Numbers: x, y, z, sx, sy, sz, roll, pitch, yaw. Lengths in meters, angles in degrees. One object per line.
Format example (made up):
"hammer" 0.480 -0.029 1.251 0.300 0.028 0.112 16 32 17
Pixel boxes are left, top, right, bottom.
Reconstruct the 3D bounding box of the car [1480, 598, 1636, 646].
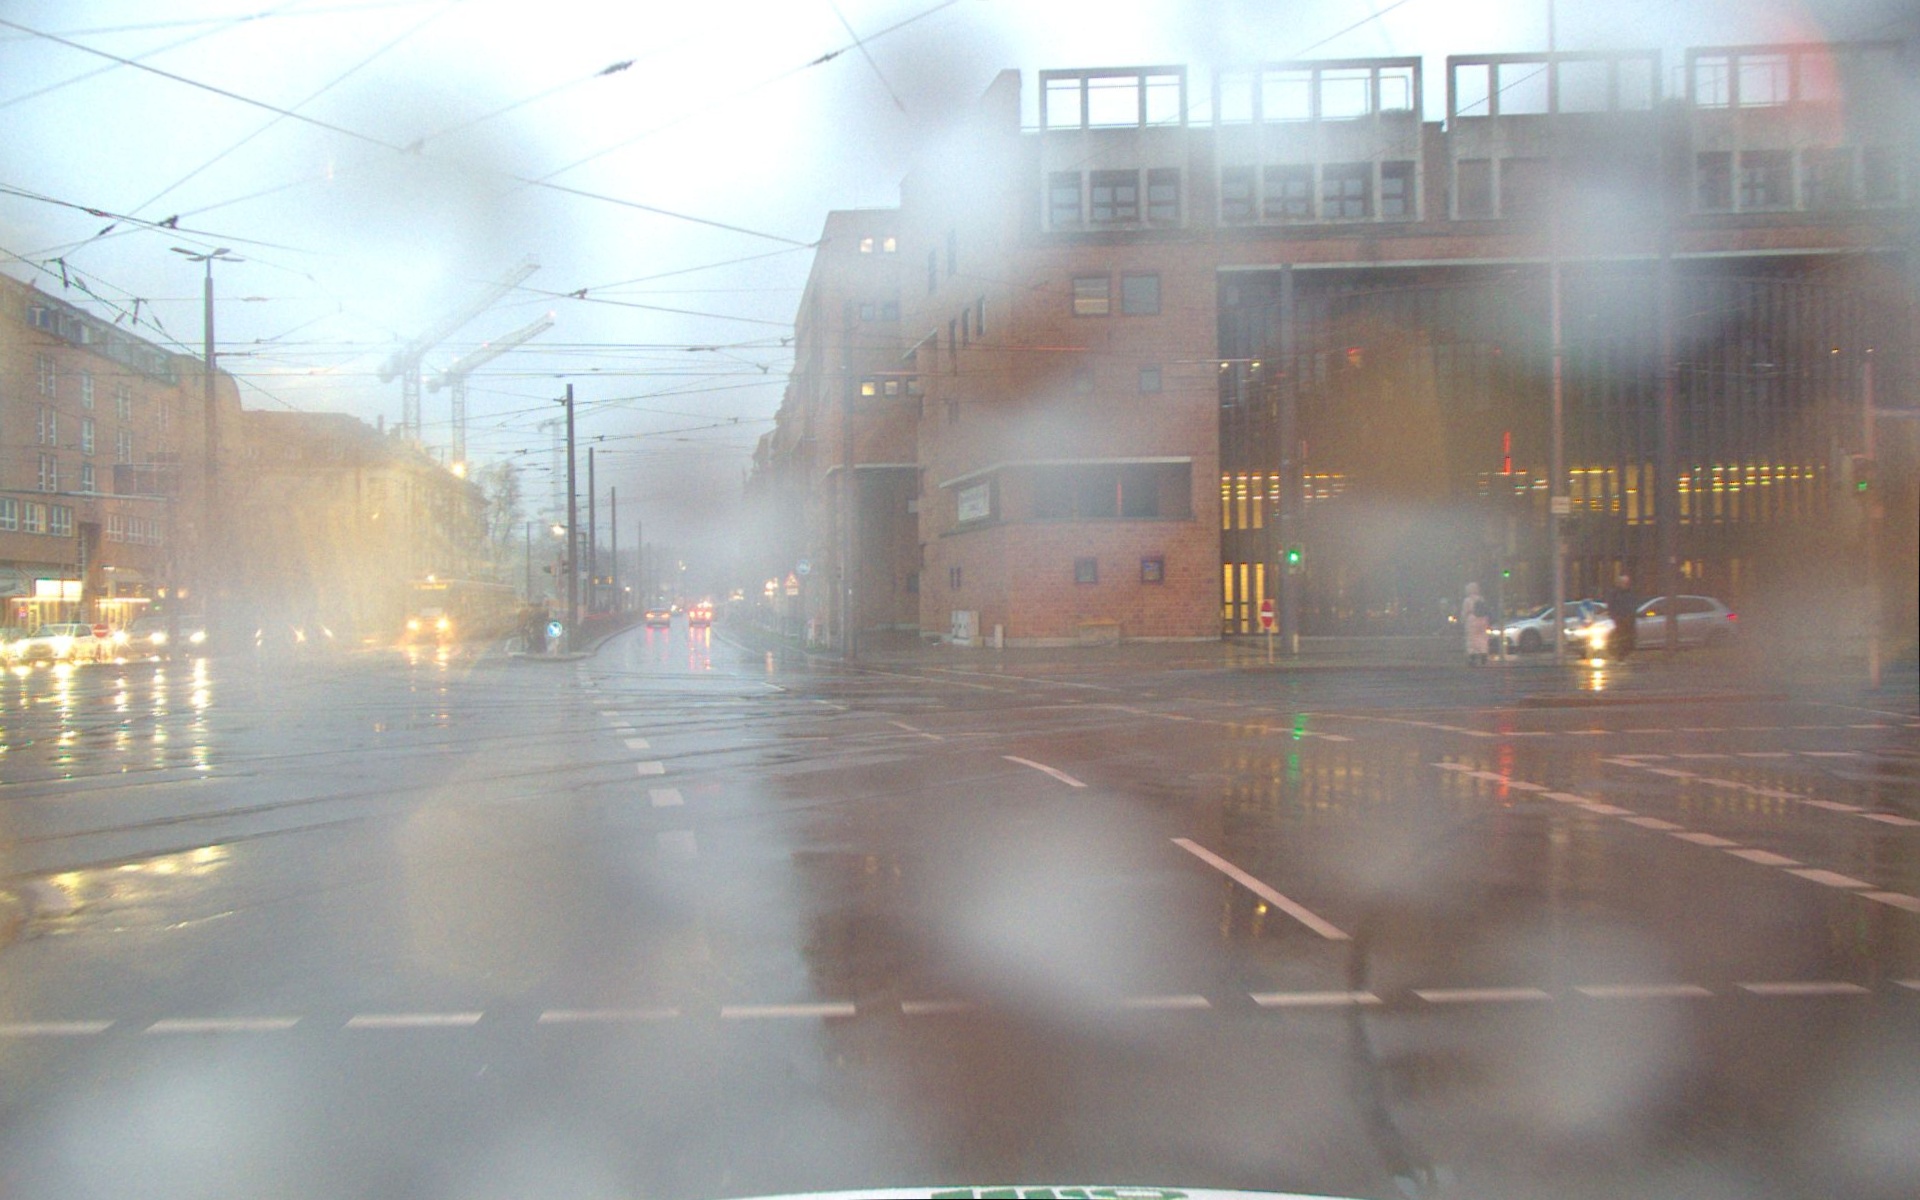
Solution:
"car" 17.435 0.634 48.287 3.906 1.333 1.811 -1 0 -8

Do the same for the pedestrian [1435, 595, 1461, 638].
"pedestrian" 16.089 0.548 54.528 0.721 1.413 0.738 -1 0 12

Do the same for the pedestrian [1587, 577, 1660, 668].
"pedestrian" 13.620 0.459 33.974 1.127 1.818 0.776 -1 0 -9

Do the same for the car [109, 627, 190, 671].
"car" -34.442 2.063 70.405 1.795 1.739 4.694 -1 0 -10

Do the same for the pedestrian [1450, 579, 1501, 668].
"pedestrian" 10.783 0.480 34.587 0.721 1.818 0.732 -1 0 -13

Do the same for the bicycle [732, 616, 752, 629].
"bicycle" -19.168 1.952 145.371 1.699 1.073 0.370 -2 0 -11

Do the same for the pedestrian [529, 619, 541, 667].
"pedestrian" -15.718 1.593 61.119 0.426 1.766 0.471 0 -1 -14

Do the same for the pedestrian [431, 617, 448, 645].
"pedestrian" -22.144 1.305 70.367 0.569 1.173 0.489 1 -1 -8

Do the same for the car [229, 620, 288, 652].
"car" -31.068 1.578 73.363 1.651 1.378 3.537 0 -1 -10

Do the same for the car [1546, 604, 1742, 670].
"car" 16.321 0.863 39.563 3.905 1.364 1.812 -3 0 -7

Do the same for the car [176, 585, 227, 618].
"car" -49.006 0.092 106.915 1.957 2.049 3.991 1 0 -10

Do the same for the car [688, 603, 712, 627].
"car" -22.586 1.310 143.714 1.956 2.049 3.993 -1 0 -7

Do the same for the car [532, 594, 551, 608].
"car" -42.842 0.102 169.396 1.651 1.378 3.537 0 -1 -10

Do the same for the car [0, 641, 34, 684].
"car" -35.595 2.301 60.729 1.552 1.521 3.589 -1 0 -8

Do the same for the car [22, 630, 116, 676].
"car" -32.291 1.907 60.059 1.637 1.521 4.193 -1 0 -8

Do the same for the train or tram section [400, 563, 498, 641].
"train or tram section" -25.639 0.138 83.617 2.895 3.652 12.229 1 0 -9

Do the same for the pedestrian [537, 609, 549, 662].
"pedestrian" -14.979 1.274 59.396 0.405 1.878 0.667 0 -1 -14

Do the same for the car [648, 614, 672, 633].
"car" -24.100 1.892 132.879 1.750 1.492 3.143 -1 0 -8
